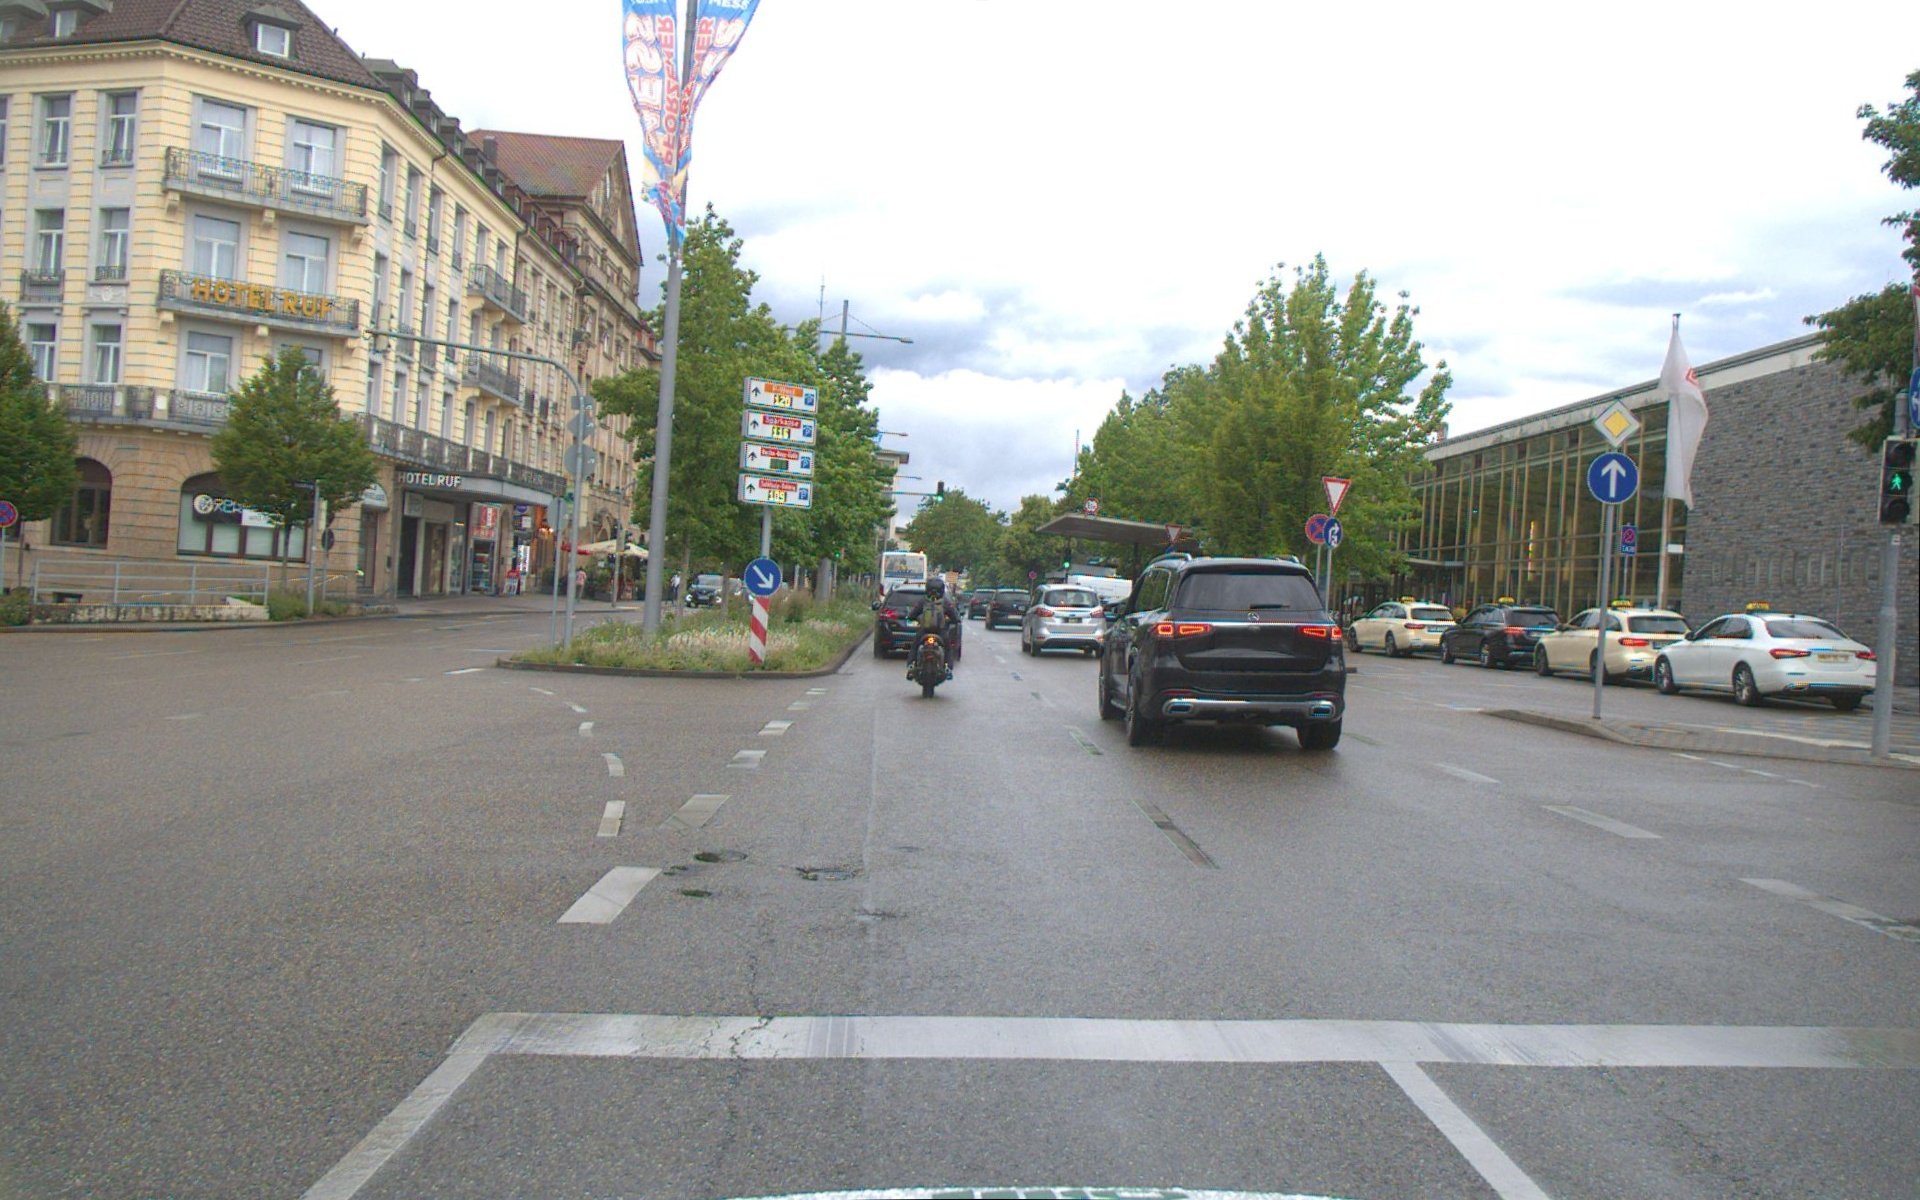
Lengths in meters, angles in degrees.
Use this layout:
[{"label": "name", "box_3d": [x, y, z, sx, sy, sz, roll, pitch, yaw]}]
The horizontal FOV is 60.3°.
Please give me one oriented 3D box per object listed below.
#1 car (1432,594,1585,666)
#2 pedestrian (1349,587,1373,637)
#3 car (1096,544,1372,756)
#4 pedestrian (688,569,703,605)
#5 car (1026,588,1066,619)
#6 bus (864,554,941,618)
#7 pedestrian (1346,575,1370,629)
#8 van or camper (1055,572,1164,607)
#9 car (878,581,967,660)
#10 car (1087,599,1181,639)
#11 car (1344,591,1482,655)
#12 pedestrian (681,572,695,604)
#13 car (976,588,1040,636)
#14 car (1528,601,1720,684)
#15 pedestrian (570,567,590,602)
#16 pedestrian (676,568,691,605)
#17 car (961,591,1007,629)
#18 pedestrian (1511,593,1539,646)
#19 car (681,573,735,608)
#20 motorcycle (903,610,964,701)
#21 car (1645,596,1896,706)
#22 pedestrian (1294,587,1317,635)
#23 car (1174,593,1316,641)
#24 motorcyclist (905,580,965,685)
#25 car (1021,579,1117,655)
[{"label": "car", "box_3d": [12.987, 0.667, 39.466, 1.875, 1.551, 4.740, 1, 0, -3]}, {"label": "pedestrian", "box_3d": [16.711, 0.497, 68.920, 0.754, 2.049, 0.828, 1, 0, -3]}, {"label": "car", "box_3d": [2.626, 0.424, 17.008, 1.953, 1.837, 4.689, 1, 1, -1]}, {"label": "pedestrian", "box_3d": [-15.261, -0.767, 95.405, 0.742, 2.049, 0.832, 2, 0, -7]}, {"label": "car", "box_3d": [4.509, 0.181, 86.916, 1.779, 1.556, 3.999, 2, 0, -1]}, {"label": "bus", "box_3d": [-3.469, -0.793, 94.424, 3.686, 3.265, 15.512, 1, 0, -4]}, {"label": "pedestrian", "box_3d": [18.159, 0.097, 75.494, 0.825, 2.453, 0.862, 1, 0, 1]}, {"label": "van or camper", "box_3d": [9.443, -0.636, 104.521, 6.675, 2.049, 2.364, 1, 0, -28]}, {"label": "car", "box_3d": [-0.746, 0.373, 33.726, 1.673, 1.473, 3.999, 1, 0, -1]}, {"label": "car", "box_3d": [8.833, 0.957, 83.858, 4.274, 1.889, 1.988, 2, 0, -21]}, {"label": "car", "box_3d": [12.481, 0.597, 45.942, 1.956, 1.628, 4.815, 1, 0, -8]}, {"label": "pedestrian", "box_3d": [-15.144, -0.680, 92.153, 0.661, 1.731, 0.633, 1, 0, -1]}, {"label": "car", "box_3d": [1.682, 0.395, 58.850, 1.775, 1.609, 3.899, 2, 0, -5]}, {"label": "car", "box_3d": [13.187, 0.794, 33.184, 1.809, 1.477, 4.665, 1, 0, -2]}, {"label": "pedestrian", "box_3d": [-16.777, -0.698, 72.997, 0.656, 1.537, 0.512, 1, 0, -39]}, {"label": "pedestrian", "box_3d": [-15.390, -0.744, 91.973, 0.742, 2.049, 0.832, 2, 0, -7]}, {"label": "car", "box_3d": [1.109, 0.453, 78.703, 1.775, 1.671, 3.900, 2, 0, -4]}, {"label": "pedestrian", "box_3d": [17.970, 0.616, 52.591, 0.553, 1.675, 0.715, 1, 0, -6]}, {"label": "car", "box_3d": [-11.953, -0.450, 78.616, 1.734, 1.557, 4.080, 1, 0, 3]}, {"label": "motorcycle", "box_3d": [-0.348, 0.712, 22.079, 0.750, 1.095, 2.175, 2, 0, -1]}, {"label": "car", "box_3d": [13.320, 0.774, 27.529, 1.739, 1.617, 4.614, 1, 0, -2]}, {"label": "pedestrian", "box_3d": [15.199, 0.477, 72.787, 0.754, 2.049, 0.828, 1, 0, -3]}, {"label": "car", "box_3d": [9.029, 0.524, 52.664, 1.764, 1.409, 4.303, 1, 0, -41]}, {"label": "motorcyclist", "box_3d": [-0.339, 0.426, 22.195, 0.749, 1.354, 0.866, 2, 0, -1]}, {"label": "car", "box_3d": [2.421, 0.359, 37.625, 1.813, 1.594, 3.999, 1, 0, -1]}]
